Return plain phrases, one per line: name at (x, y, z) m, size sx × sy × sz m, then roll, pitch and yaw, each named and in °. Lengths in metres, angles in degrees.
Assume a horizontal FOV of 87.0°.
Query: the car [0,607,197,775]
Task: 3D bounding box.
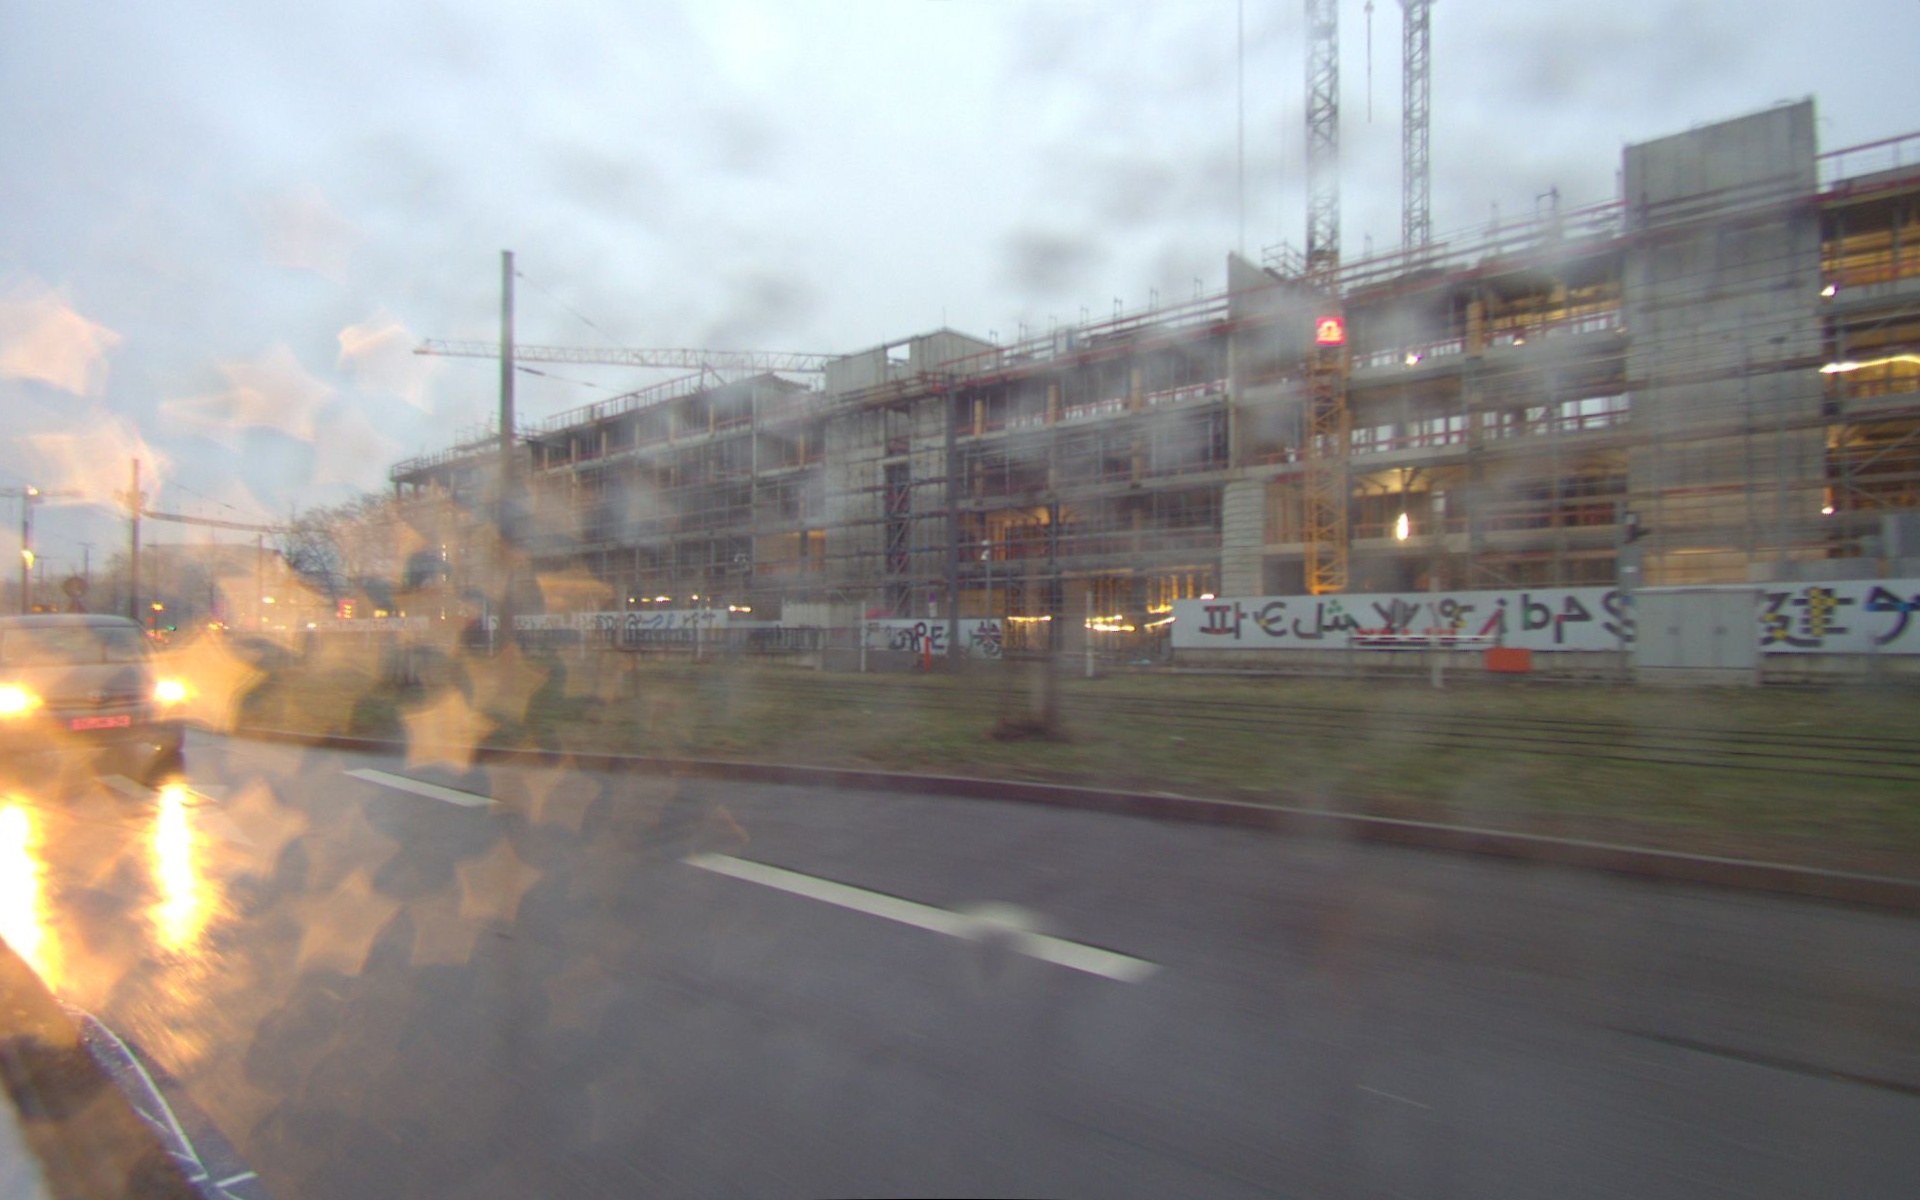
car at (-10.599, 0.960, 11.904) m, size 4.133 × 1.659 × 1.792 m, roll -2°, pitch -2°, yaw 41°
